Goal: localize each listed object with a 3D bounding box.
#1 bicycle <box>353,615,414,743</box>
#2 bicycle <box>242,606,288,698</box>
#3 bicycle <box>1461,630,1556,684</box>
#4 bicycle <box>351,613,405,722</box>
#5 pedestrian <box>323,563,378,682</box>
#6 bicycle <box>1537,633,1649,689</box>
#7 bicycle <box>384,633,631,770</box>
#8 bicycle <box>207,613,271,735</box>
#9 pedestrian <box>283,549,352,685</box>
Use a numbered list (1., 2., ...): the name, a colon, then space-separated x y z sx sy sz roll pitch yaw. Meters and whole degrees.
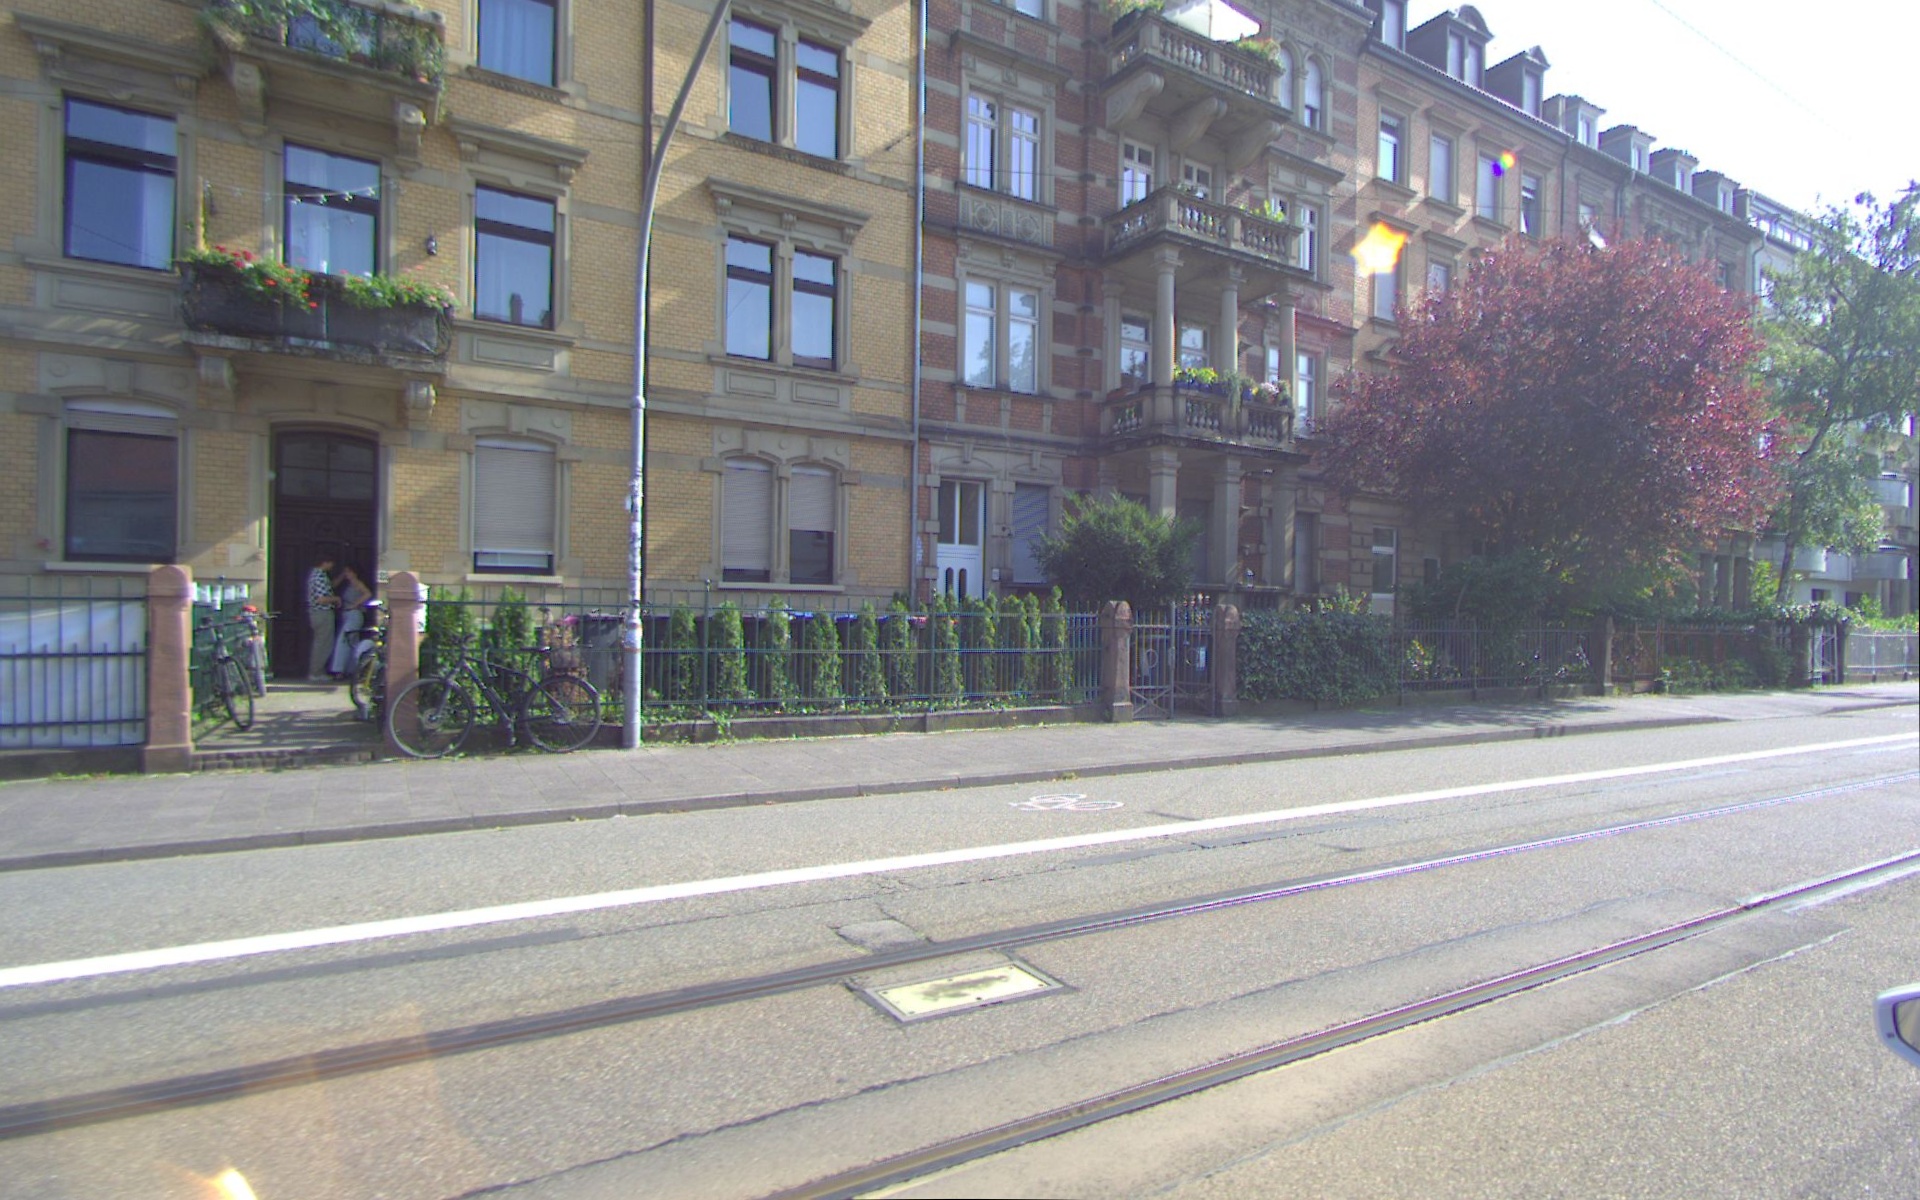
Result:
1. bicycle: -5.488 0.708 9.534 0.412 1.074 1.349 1 1 -33
2. bicycle: -8.589 0.618 12.437 0.412 1.074 1.474 1 -1 -33
3. bicycle: 12.037 1.235 22.072 1.723 1.118 0.589 1 0 11
4. bicycle: -6.212 0.683 10.705 0.412 1.074 1.349 1 -1 -33
5. pedestrian: -8.875 0.326 14.623 0.576 1.689 0.545 1 -1 -42
6. bicycle: 13.805 1.307 21.966 0.582 1.118 2.004 1 -1 -33
7. bicycle: -4.057 0.875 9.091 1.980 1.122 0.506 1 0 -31
8. bicycle: -6.912 0.668 9.666 0.412 1.074 1.474 1 -1 -33
9. pedestrian: -9.067 0.235 14.188 0.541 1.874 0.580 1 -1 20
